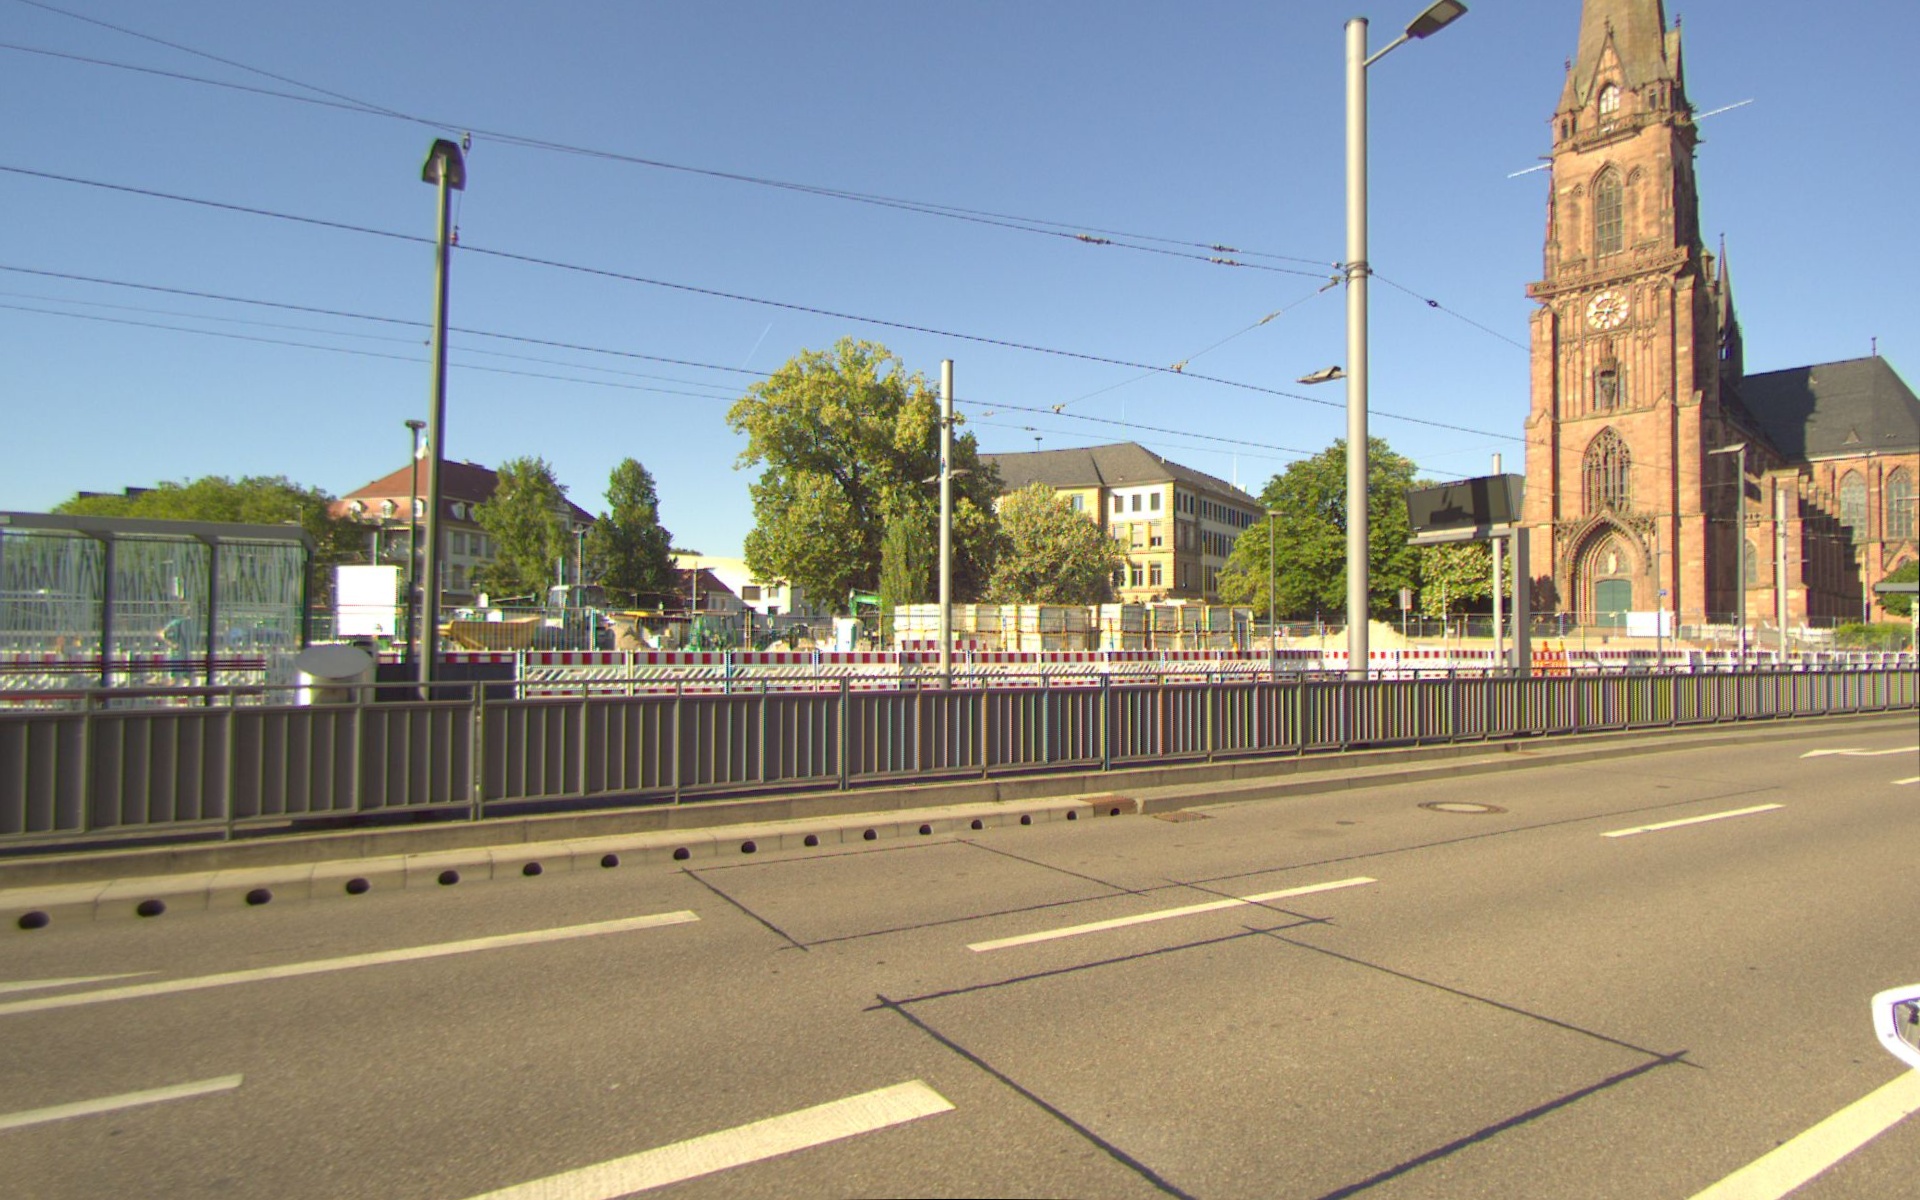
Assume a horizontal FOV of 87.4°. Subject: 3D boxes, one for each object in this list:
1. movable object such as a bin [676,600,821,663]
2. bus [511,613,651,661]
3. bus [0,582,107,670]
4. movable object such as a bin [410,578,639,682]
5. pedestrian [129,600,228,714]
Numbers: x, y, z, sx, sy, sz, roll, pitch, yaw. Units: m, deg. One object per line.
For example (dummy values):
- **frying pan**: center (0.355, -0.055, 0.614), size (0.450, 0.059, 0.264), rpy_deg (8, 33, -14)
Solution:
- **movable object such as a bin**: center (-5.978, 0.875, 28.568), size (3.820, 1.608, 1.167), rpy_deg (-2, -2, -31)
- **bus**: center (-28.167, 2.681, 75.725), size (3.186, 3.236, 12.668), rpy_deg (-3, -2, 13)
- **bus**: center (-37.547, 0.985, 34.991), size (2.784, 3.236, 12.668), rpy_deg (-3, -2, 13)
- **movable object such as a bin**: center (-11.860, 0.780, 27.615), size (2.598, 2.559, 5.142), rpy_deg (-4, -2, 42)
- **pedestrian**: center (-12.973, 0.933, 16.716), size (1.166, 1.792, 0.798), rpy_deg (-2, -2, -31)
